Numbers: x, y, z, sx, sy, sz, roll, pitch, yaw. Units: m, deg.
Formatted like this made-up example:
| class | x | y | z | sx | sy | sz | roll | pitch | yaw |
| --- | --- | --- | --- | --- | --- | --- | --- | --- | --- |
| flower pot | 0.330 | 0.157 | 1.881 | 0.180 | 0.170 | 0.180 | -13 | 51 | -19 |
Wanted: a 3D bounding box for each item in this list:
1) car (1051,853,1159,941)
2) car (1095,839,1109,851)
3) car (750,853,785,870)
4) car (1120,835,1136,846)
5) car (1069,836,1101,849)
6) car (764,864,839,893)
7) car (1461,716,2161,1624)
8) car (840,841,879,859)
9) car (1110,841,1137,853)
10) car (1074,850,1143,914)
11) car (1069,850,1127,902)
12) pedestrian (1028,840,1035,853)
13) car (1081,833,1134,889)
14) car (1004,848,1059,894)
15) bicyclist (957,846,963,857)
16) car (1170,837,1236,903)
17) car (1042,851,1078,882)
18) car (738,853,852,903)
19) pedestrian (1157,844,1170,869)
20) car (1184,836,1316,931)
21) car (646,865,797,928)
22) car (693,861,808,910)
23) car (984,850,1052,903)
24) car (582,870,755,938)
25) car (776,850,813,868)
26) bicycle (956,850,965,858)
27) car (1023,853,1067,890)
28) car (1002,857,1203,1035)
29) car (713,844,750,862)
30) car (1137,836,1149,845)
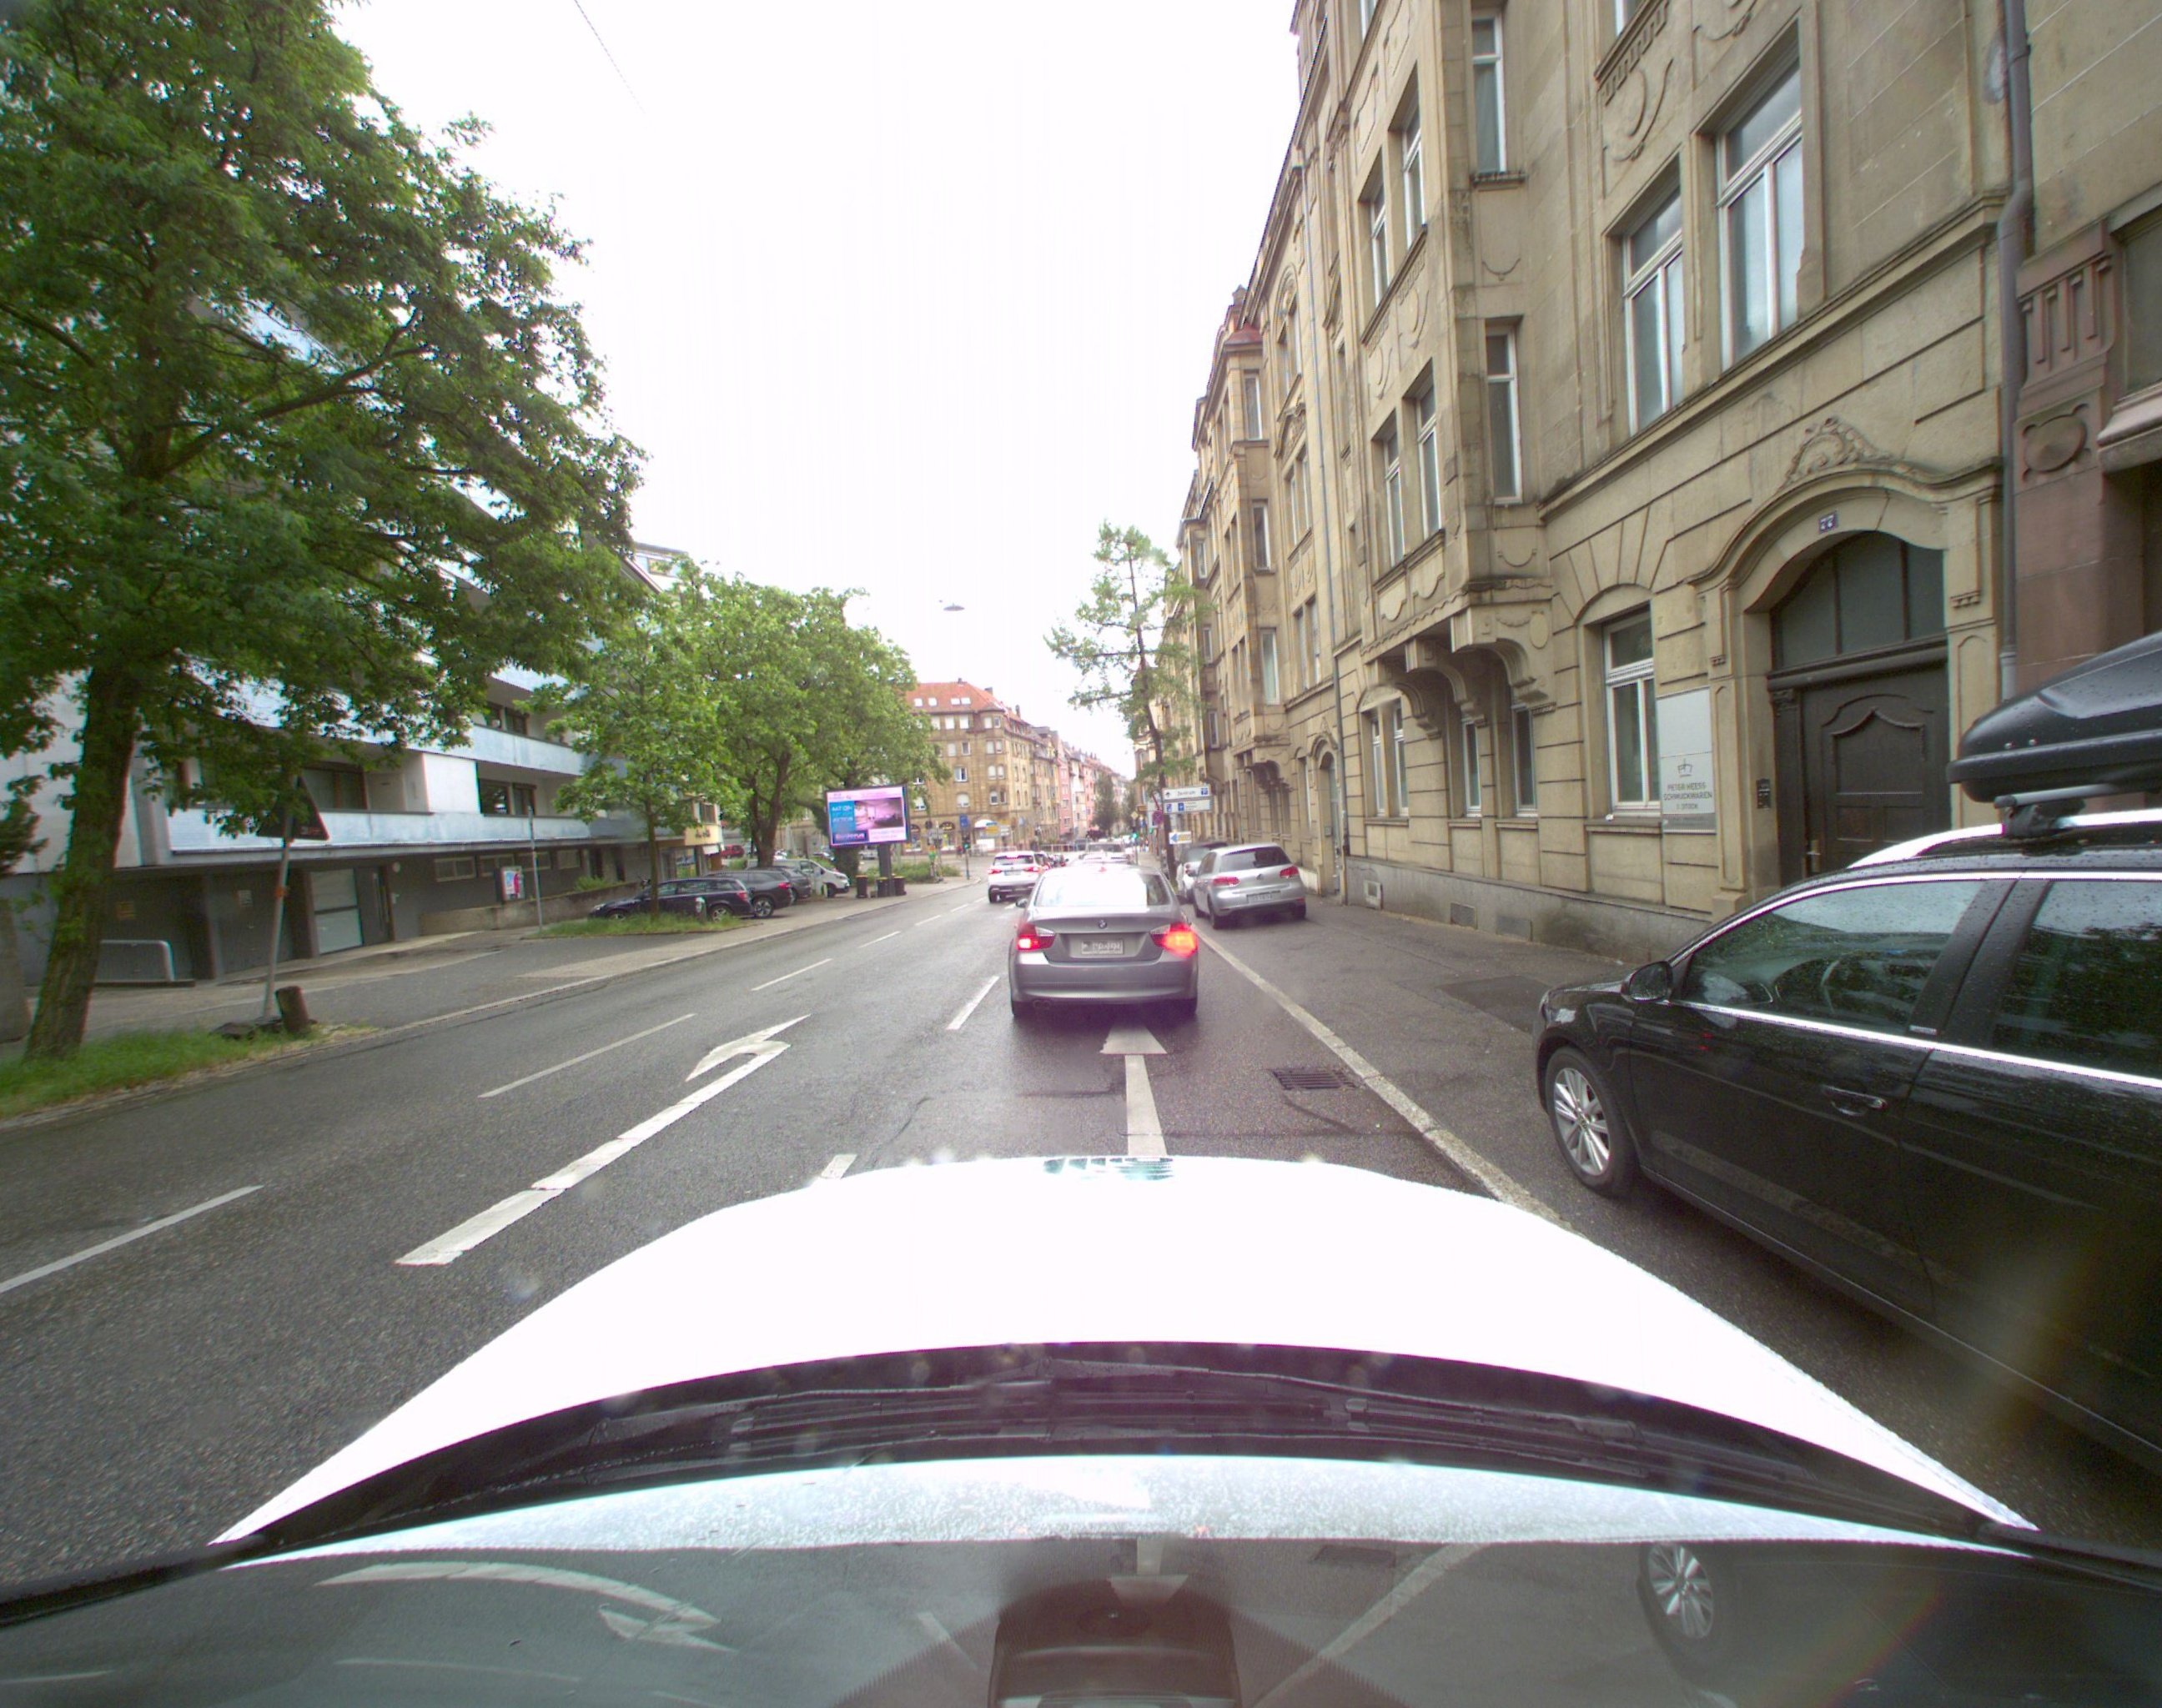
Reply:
| class | x | y | z | sx | sy | sz | roll | pitch | yaw |
| --- | --- | --- | --- | --- | --- | --- | --- | --- | --- |
| car | 0.500 | 0.709 | 15.492 | 1.752 | 1.383 | 4.003 | -2 | 0 | 3 |
| car | 2.717 | -1.125 | 104.414 | 1.709 | 1.450 | 3.743 | -3 | 0 | 1 |
| car | -40.917 | 0.968 | 106.191 | 4.238 | 2.101 | 2.013 | 0 | 2 | 30 |
| car | 6.962 | -2.028 | 120.638 | 1.983 | 1.578 | 4.008 | 0 | -1 | 7 |
| car | 0.672 | -1.807 | 130.136 | 5.158 | 2.014 | 2.699 | 0 | -1 | 1 |
| car | -16.244 | 1.420 | 47.386 | 3.985 | 1.450 | 1.758 | -3 | 0 | -19 |
| car | 2.779 | 0.482 | 1.989 | 1.753 | 1.651 | 4.101 | -7 | 0 | 2 |
| car | -26.496 | -0.486 | 97.458 | 4.238 | 2.101 | 2.013 | 0 | 2 | 30 |
| car | 5.924 | -1.005 | 114.067 | 1.974 | 1.578 | 4.025 | -1 | -1 | 34 |
| car | 0.749 | 0.642 | 20.830 | 1.588 | 1.464 | 4.003 | 0 | 0 | 3 |
| car | 0.633 | 0.671 | 27.538 | 1.752 | 1.567 | 4.003 | -2 | 0 | 3 |
| pedestrian | -6.214 | -0.970 | 101.819 | 0.727 | 1.577 | 0.530 | -3 | 0 | 10 |
| car | 1.072 | 0.271 | 33.437 | 1.986 | 2.106 | 4.002 | -2 | 0 | 2 |
| car | -1.950 | 0.630 | 33.335 | 1.752 | 1.707 | 4.003 | -2 | 0 | 3 |
| bicyclist | -14.398 | -0.315 | 97.006 | 0.565 | 1.273 | 0.692 | -1 | -1 | 13 |
| car | 3.336 | 0.410 | 22.748 | 1.295 | 1.543 | 2.977 | -7 | 0 | 1 |
| car | -1.212 | 0.702 | 48.623 | 1.752 | 1.707 | 4.003 | -2 | 0 | 3 |
| car | -13.985 | 1.140 | 40.049 | 5.076 | 2.105 | 1.979 | -3 | 0 | -19 |
| pedestrian | 5.273 | 0.136 | 52.183 | 0.629 | 1.508 | 0.693 | -7 | 0 | 1 |
| car | 3.218 | 0.504 | 16.322 | 1.753 | 1.451 | 4.001 | -7 | 0 | 1 |
| car | -11.905 | 1.363 | 27.292 | 4.382 | 1.672 | 1.842 | -4 | 0 | -21 |
| car | -13.986 | 1.310 | 34.782 | 4.370 | 1.784 | 1.927 | -3 | 0 | -19 |
| car | -2.083 | 0.694 | 27.977 | 1.861 | 1.625 | 4.001 | -2 | 0 | 1 |
| car | -12.268 | 1.439 | 24.559 | 4.373 | 1.574 | 1.930 | -4 | 0 | -21 |
| car | -36.555 | 0.631 | 103.910 | 4.238 | 2.101 | 2.013 | 0 | 2 | 30 |
| bicycle | -14.353 | 0.018 | 97.088 | 0.569 | 0.858 | 1.527 | -1 | -1 | 12 |
| car | -1.740 | 0.823 | 40.698 | 1.752 | 1.707 | 4.003 | -2 | 0 | 3 |
| car | 0.273 | 0.775 | 8.556 | 1.617 | 1.383 | 3.618 | -2 | 0 | 3 |
| car | -44.301 | -0.157 | 103.370 | 3.951 | 2.013 | 2.011 | -4 | 0 | 23 |
| car | 9.169 | -1.978 | 120.586 | 1.429 | 1.174 | 3.435 | 0 | 0 | 1 |
